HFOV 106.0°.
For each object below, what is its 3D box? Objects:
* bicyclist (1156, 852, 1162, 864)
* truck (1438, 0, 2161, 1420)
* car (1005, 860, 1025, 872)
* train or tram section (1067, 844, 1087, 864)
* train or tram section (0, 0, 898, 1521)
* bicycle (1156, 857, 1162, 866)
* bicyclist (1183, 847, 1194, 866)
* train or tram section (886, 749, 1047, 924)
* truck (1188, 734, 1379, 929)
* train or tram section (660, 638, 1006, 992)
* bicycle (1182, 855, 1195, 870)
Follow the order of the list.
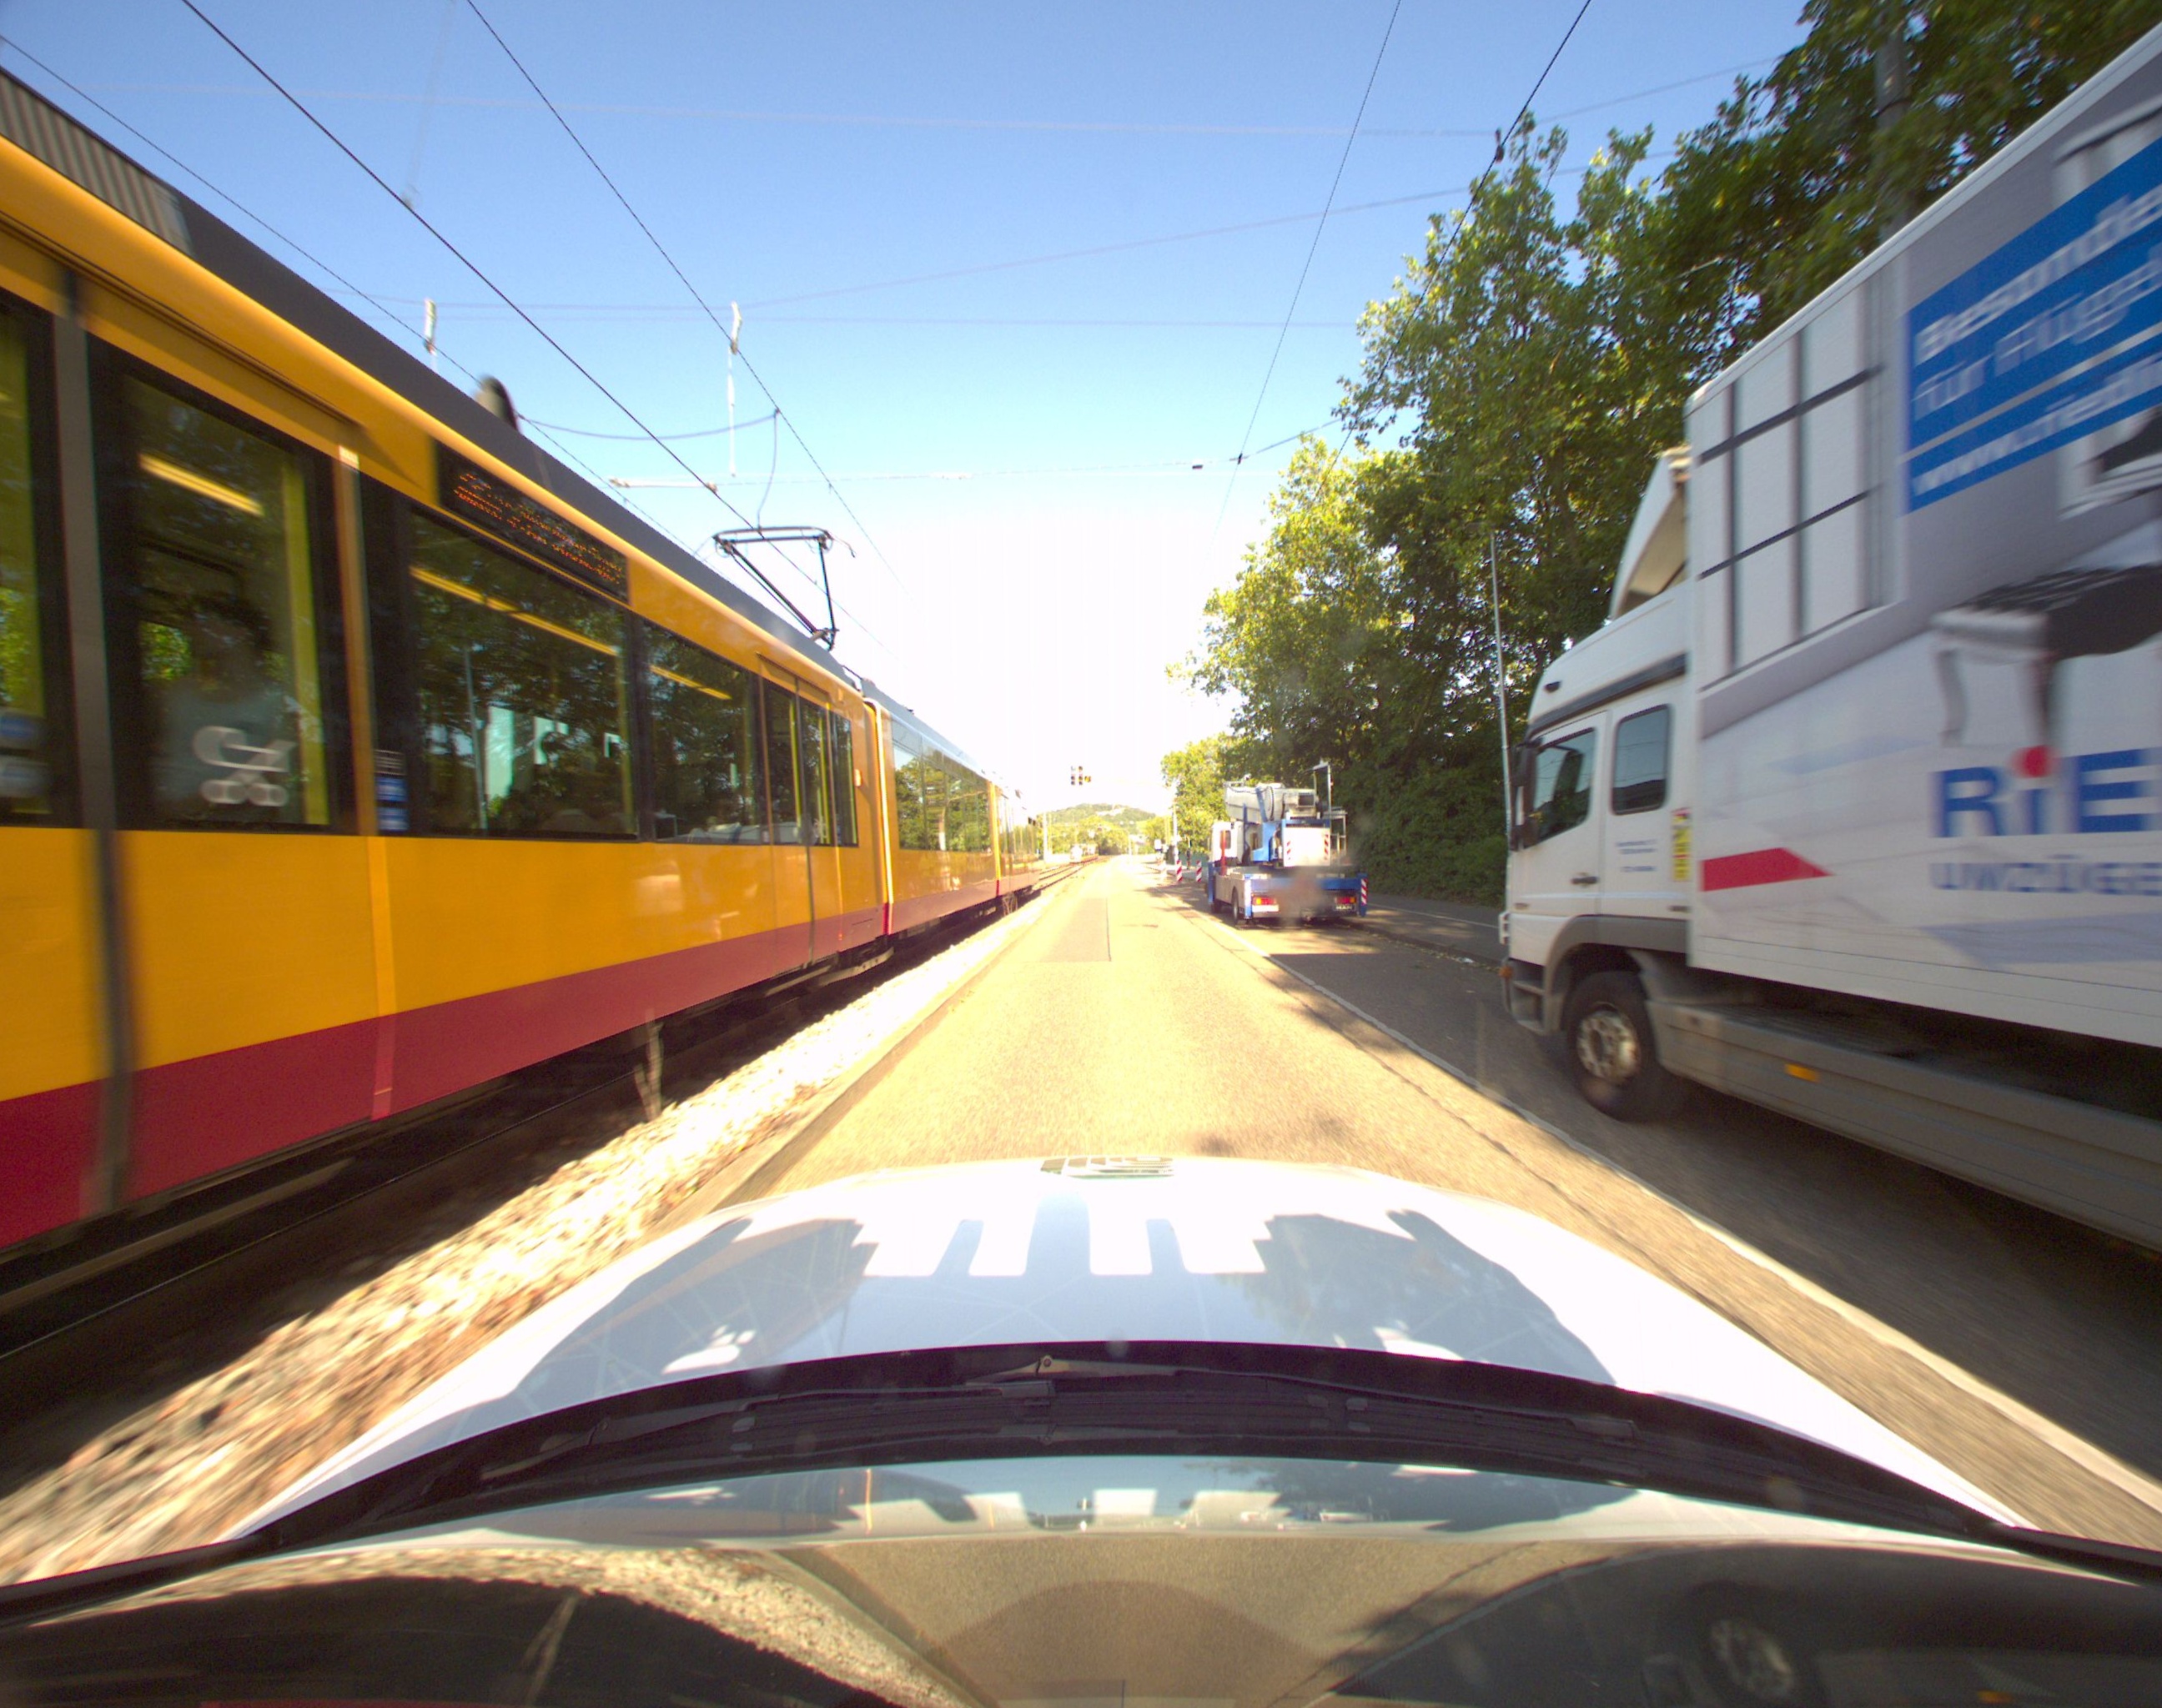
[{"bbox_3d":[9.379,0.445,98.247,0.602,1.379,0.976,-1,0,2],"label":"bicyclist"},{"bbox_3d":[4.104,-0.450,1.522,2.732,3.783,10.092,0,0,2],"label":"truck"},{"bbox_3d":[-7.994,1.447,98.517,1.760,1.413,4.914,-2,0,2],"label":"car"},{"bbox_3d":[-0.626,-0.032,154.948,2.631,3.567,10.848,-2,0,5],"label":"train or tram section"},{"bbox_3d":[-3.834,-0.486,2.826,2.711,4.091,13.621,-2,0,2],"label":"train or tram section"},{"bbox_3d":[9.382,0.855,98.260,0.513,1.042,1.976,-1,0,2],"label":"bicycle"},{"bbox_3d":[8.893,0.194,67.366,0.821,1.520,0.975,-1,0,1],"label":"bicyclist"},{"bbox_3d":[-3.013,-0.395,25.956,2.709,4.089,12.819,-2,0,2],"label":"train or tram section"},{"bbox_3d":[4.564,-0.419,20.674,2.707,3.783,9.764,0,0,2],"label":"truck"},{"bbox_3d":[-3.405,-0.447,14.606,2.684,4.089,9.915,-2,0,2],"label":"train or tram section"},{"bbox_3d":[8.891,0.709,67.260,0.725,1.176,2.696,-2,0,2],"label":"bicycle"}]
